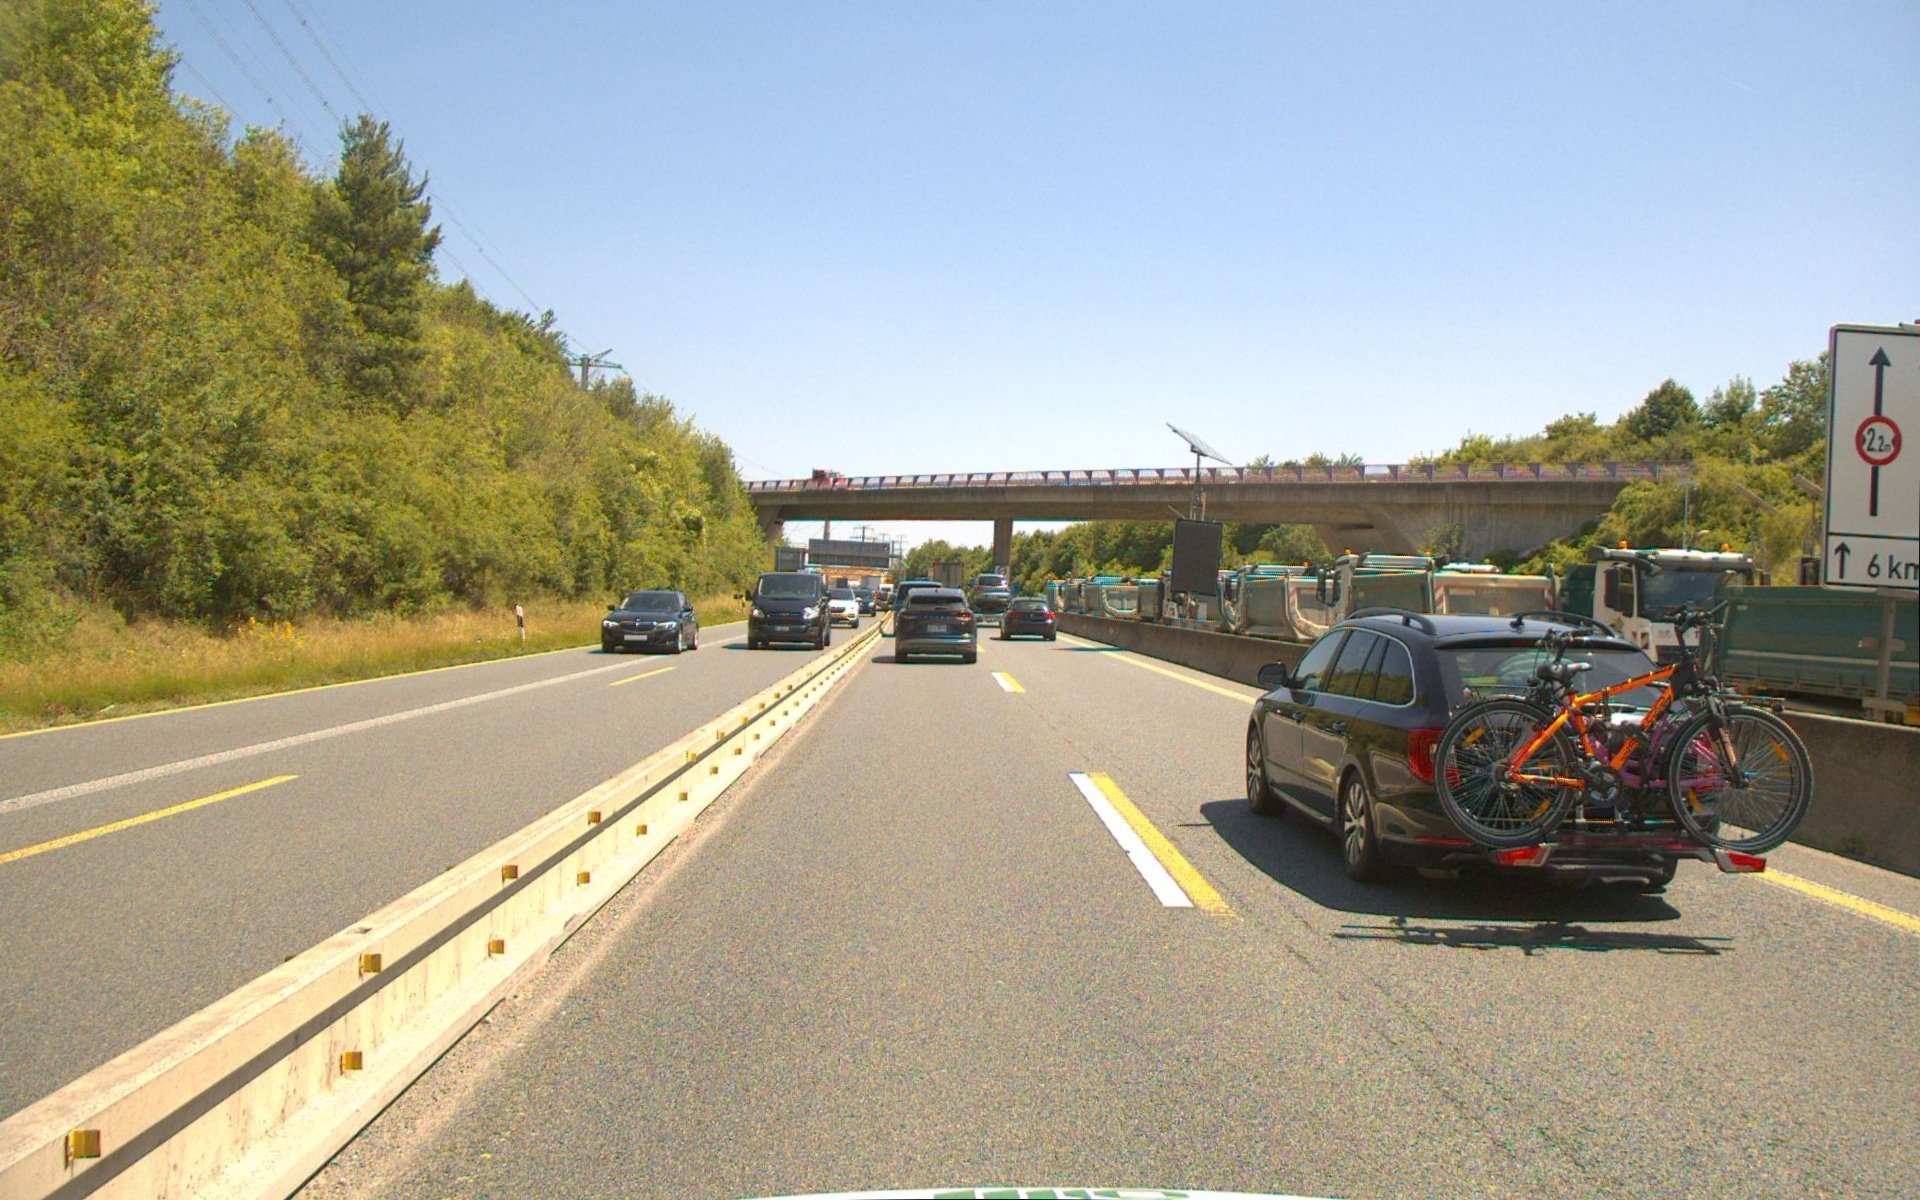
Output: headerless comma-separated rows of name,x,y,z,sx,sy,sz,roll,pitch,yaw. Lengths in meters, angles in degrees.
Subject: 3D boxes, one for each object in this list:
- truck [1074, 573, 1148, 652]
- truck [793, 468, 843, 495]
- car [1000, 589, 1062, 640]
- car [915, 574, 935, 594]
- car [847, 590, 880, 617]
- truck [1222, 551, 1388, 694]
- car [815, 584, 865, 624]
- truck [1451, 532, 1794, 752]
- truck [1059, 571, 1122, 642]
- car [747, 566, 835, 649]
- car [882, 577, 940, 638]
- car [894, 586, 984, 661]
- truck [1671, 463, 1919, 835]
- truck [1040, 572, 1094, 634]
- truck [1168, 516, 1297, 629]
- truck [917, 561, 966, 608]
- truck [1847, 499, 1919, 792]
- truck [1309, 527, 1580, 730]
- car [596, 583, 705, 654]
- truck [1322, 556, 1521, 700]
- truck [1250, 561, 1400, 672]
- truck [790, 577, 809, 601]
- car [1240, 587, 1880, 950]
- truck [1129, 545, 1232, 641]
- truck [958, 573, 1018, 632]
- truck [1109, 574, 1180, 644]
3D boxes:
truck,7.771,0.588,86.100,2.633,3.826,9.322,1,0,-2
truck,-12.874,-10.652,149.324,1.916,2.102,5.443,2,0,-37
car,2.382,0.475,56.381,1.860,1.613,4.275,1,0,-1
car,-3.851,-1.734,180.216,1.862,2.003,4.271,1,0,-5
car,-5.919,0.217,102.105,1.806,1.560,4.670,2,0,-1
truck,9.606,0.554,47.200,2.632,3.619,9.405,1,0,-1
car,-4.989,0.131,69.351,1.806,1.560,4.670,2,0,-1
truck,12.507,0.680,32.462,2.633,3.619,9.600,1,0,-1
truck,7.621,0.342,97.651,2.633,3.923,9.322,1,0,-2
car,-4.425,0.178,43.917,1.852,2.049,4.817,2,0,-1
car,-1.676,0.266,57.865,1.860,2.003,4.275,1,0,-1
car,-0.466,0.499,37.137,1.860,1.531,4.275,1,0,-1
truck,10.576,0.500,16.604,2.487,3.619,9.600,1,0,-1
truck,7.028,0.158,110.229,2.633,3.910,9.322,1,0,-2
truck,9.488,-0.931,58.573,2.633,3.619,9.321,1,0,-2
truck,-1.677,-1.354,145.167,3.229,3.912,10.096,1,0,-6
truck,13.246,0.603,17.241,2.633,3.619,9.600,1,0,-1
truck,9.794,0.496,34.771,2.633,3.619,9.600,1,0,-1
car,-7.279,0.403,39.318,1.757,1.552,4.530,2,0,-1
truck,12.329,0.667,45.187,2.632,3.437,9.602,1,0,0
truck,12.343,0.510,56.951,2.633,3.437,9.598,1,0,-2
truck,-22.786,-1.585,234.593,2.460,3.242,10.096,1,0,-6
car,3.005,0.733,9.594,1.860,1.516,4.947,1,0,-1
truck,8.973,-0.300,68.317,2.633,3.619,9.321,1,0,-2
truck,1.242,0.069,78.099,2.357,2.603,7.497,1,1,-2
truck,10.599,0.478,95.852,2.633,3.792,9.321,1,0,-2
